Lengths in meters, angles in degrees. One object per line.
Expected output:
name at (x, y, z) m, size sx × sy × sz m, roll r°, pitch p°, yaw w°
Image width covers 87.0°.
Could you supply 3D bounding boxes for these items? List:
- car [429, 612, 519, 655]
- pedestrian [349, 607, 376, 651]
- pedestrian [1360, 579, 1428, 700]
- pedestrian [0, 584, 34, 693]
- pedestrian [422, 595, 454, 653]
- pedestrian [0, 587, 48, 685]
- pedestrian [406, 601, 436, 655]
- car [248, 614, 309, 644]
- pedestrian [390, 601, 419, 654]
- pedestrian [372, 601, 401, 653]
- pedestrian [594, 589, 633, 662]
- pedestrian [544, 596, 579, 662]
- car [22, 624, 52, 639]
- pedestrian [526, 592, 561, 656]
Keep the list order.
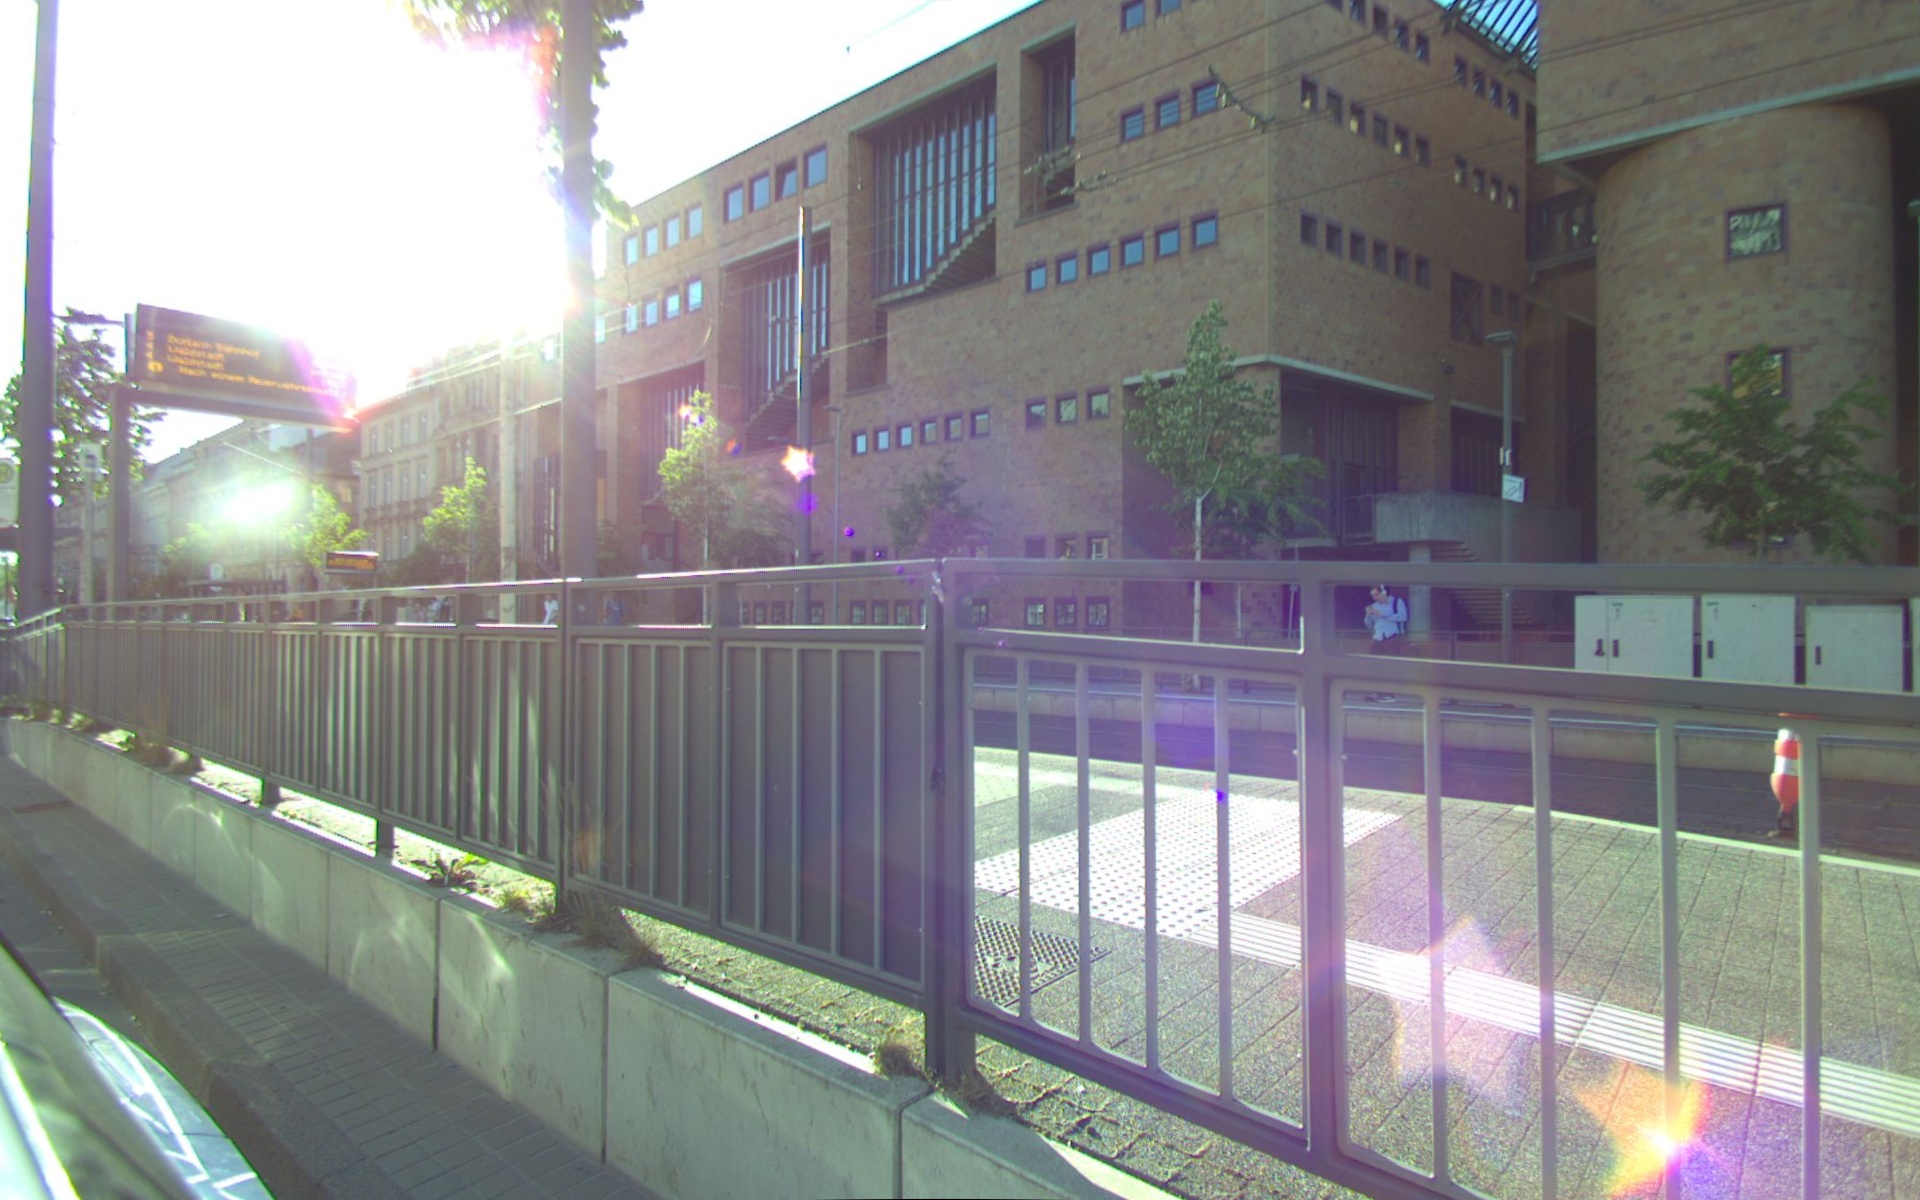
car at (-17.949, 1.226, 37.299) m, size 3.702 × 1.497 × 1.681 m, roll -2°, pitch -2°, yaw 41°
pedestrian at (-21.729, 1.055, 36.813) m, size 0.586 × 1.587 × 0.684 m, roll -2°, pitch -2°, yaw 38°
pedestrian at (5.775, 0.518, 13.471) m, size 0.653 × 1.546 × 0.693 m, roll -1°, pitch -2°, yaw 38°
pedestrian at (-18.235, 0.729, 19.272) m, size 0.880 × 2.029 × 0.774 m, roll -2°, pitch -2°, yaw 41°
pedestrian at (-16.042, 0.747, 31.106) m, size 0.586 × 1.755 × 0.684 m, roll -2°, pitch -2°, yaw 38°
pedestrian at (-19.995, 0.764, 21.519) m, size 0.880 × 2.029 × 0.774 m, roll -2°, pitch -2°, yaw 40°
pedestrian at (-17.771, 0.911, 33.364) m, size 0.586 × 1.755 × 0.684 m, roll -2°, pitch -2°, yaw 38°
car at (-34.818, 1.484, 51.702) m, size 3.702 × 1.497 × 1.681 m, roll -2°, pitch -2°, yaw 41°
pedestrian at (-18.782, 0.924, 34.234) m, size 0.586 × 1.755 × 0.684 m, roll -2°, pitch -2°, yaw 38°
pedestrian at (-19.852, 0.938, 35.034) m, size 0.586 × 1.755 × 0.684 m, roll -2°, pitch -2°, yaw 38°
pedestrian at (-8.432, 0.620, 24.646) m, size 0.586 × 1.755 × 0.684 m, roll -2°, pitch -2°, yaw 38°
pedestrian at (-10.788, 0.791, 27.413) m, size 0.586 × 1.755 × 0.684 m, roll -2°, pitch -2°, yaw 38°
car at (-91.989, 3.124, 100.837) m, size 3.700 × 1.497 × 1.681 m, roll -1°, pitch -2°, yaw 39°
pedestrian at (-11.506, 0.660, 27.952) m, size 0.586 × 1.755 × 0.684 m, roll -2°, pitch -2°, yaw 38°
